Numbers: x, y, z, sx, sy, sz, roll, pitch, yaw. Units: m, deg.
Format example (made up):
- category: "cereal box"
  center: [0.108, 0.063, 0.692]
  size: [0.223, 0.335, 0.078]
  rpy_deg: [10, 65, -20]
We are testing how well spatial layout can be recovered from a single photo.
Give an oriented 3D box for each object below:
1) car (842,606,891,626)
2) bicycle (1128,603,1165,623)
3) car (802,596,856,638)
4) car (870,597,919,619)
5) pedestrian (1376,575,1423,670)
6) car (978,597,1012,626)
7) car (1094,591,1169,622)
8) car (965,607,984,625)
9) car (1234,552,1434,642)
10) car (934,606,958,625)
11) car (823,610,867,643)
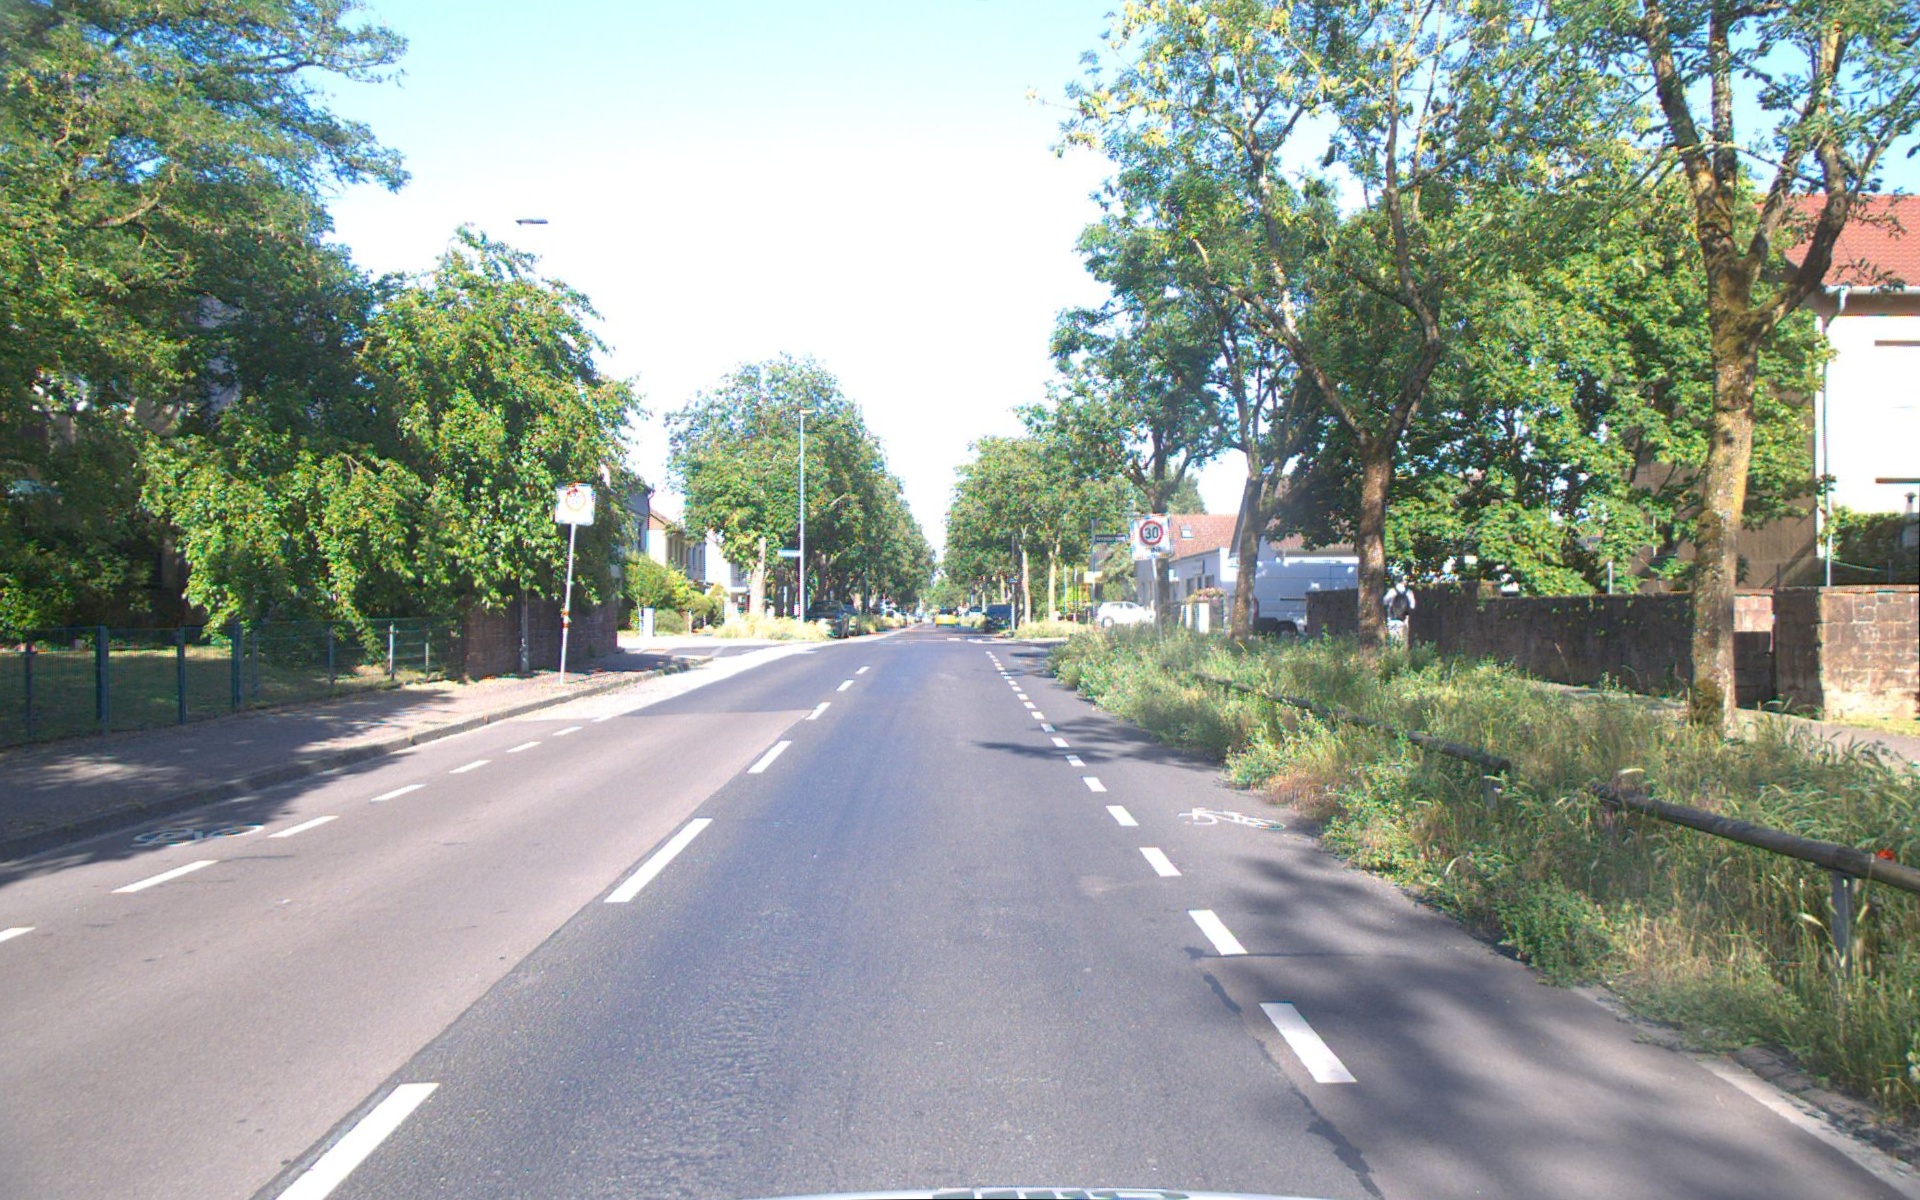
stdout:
- category: "car"
  center: [-8.790, 1.470, 155.071]
  size: [4.457, 1.796, 1.998]
  rpy_deg: [1, 1, -6]
- category: "bicycle"
  center: [10.119, 0.691, 89.864]
  size: [1.918, 1.016, 0.576]
  rpy_deg: [-2, 1, -2]
- category: "car"
  center: [-5.775, 0.791, 73.412]
  size: [1.913, 1.757, 4.874]
  rpy_deg: [1, -1, 0]
- category: "car"
  center: [-7.245, 0.861, 183.052]
  size: [5.388, 2.287, 2.516]
  rpy_deg: [1, 1, -2]
- category: "pedestrian"
  center: [8.283, 0.416, 31.170]
  size: [0.624, 1.735, 0.612]
  rpy_deg: [-3, 1, -2]
- category: "car"
  center: [2.107, 0.708, 100.819]
  size: [1.815, 1.654, 4.468]
  rpy_deg: [-2, -1, -1]
- category: "car"
  center: [9.637, 0.360, 92.987]
  size: [3.907, 1.514, 1.901]
  rpy_deg: [-3, 1, -2]
- category: "car"
  center: [1.531, 1.664, 174.172]
  size: [1.864, 1.805, 4.300]
  rpy_deg: [1, -1, 0]
- category: "car"
  center: [11.278, -0.089, 50.135]
  size: [5.483, 2.583, 2.264]
  rpy_deg: [-1, 0, -4]
- category: "car"
  center: [-1.190, 1.338, 141.206]
  size: [1.850, 1.505, 3.885]
  rpy_deg: [2, -1, -3]
- category: "car"
  center: [-5.891, 1.383, 85.267]
  size: [1.899, 1.637, 4.383]
  rpy_deg: [1, -1, 0]
